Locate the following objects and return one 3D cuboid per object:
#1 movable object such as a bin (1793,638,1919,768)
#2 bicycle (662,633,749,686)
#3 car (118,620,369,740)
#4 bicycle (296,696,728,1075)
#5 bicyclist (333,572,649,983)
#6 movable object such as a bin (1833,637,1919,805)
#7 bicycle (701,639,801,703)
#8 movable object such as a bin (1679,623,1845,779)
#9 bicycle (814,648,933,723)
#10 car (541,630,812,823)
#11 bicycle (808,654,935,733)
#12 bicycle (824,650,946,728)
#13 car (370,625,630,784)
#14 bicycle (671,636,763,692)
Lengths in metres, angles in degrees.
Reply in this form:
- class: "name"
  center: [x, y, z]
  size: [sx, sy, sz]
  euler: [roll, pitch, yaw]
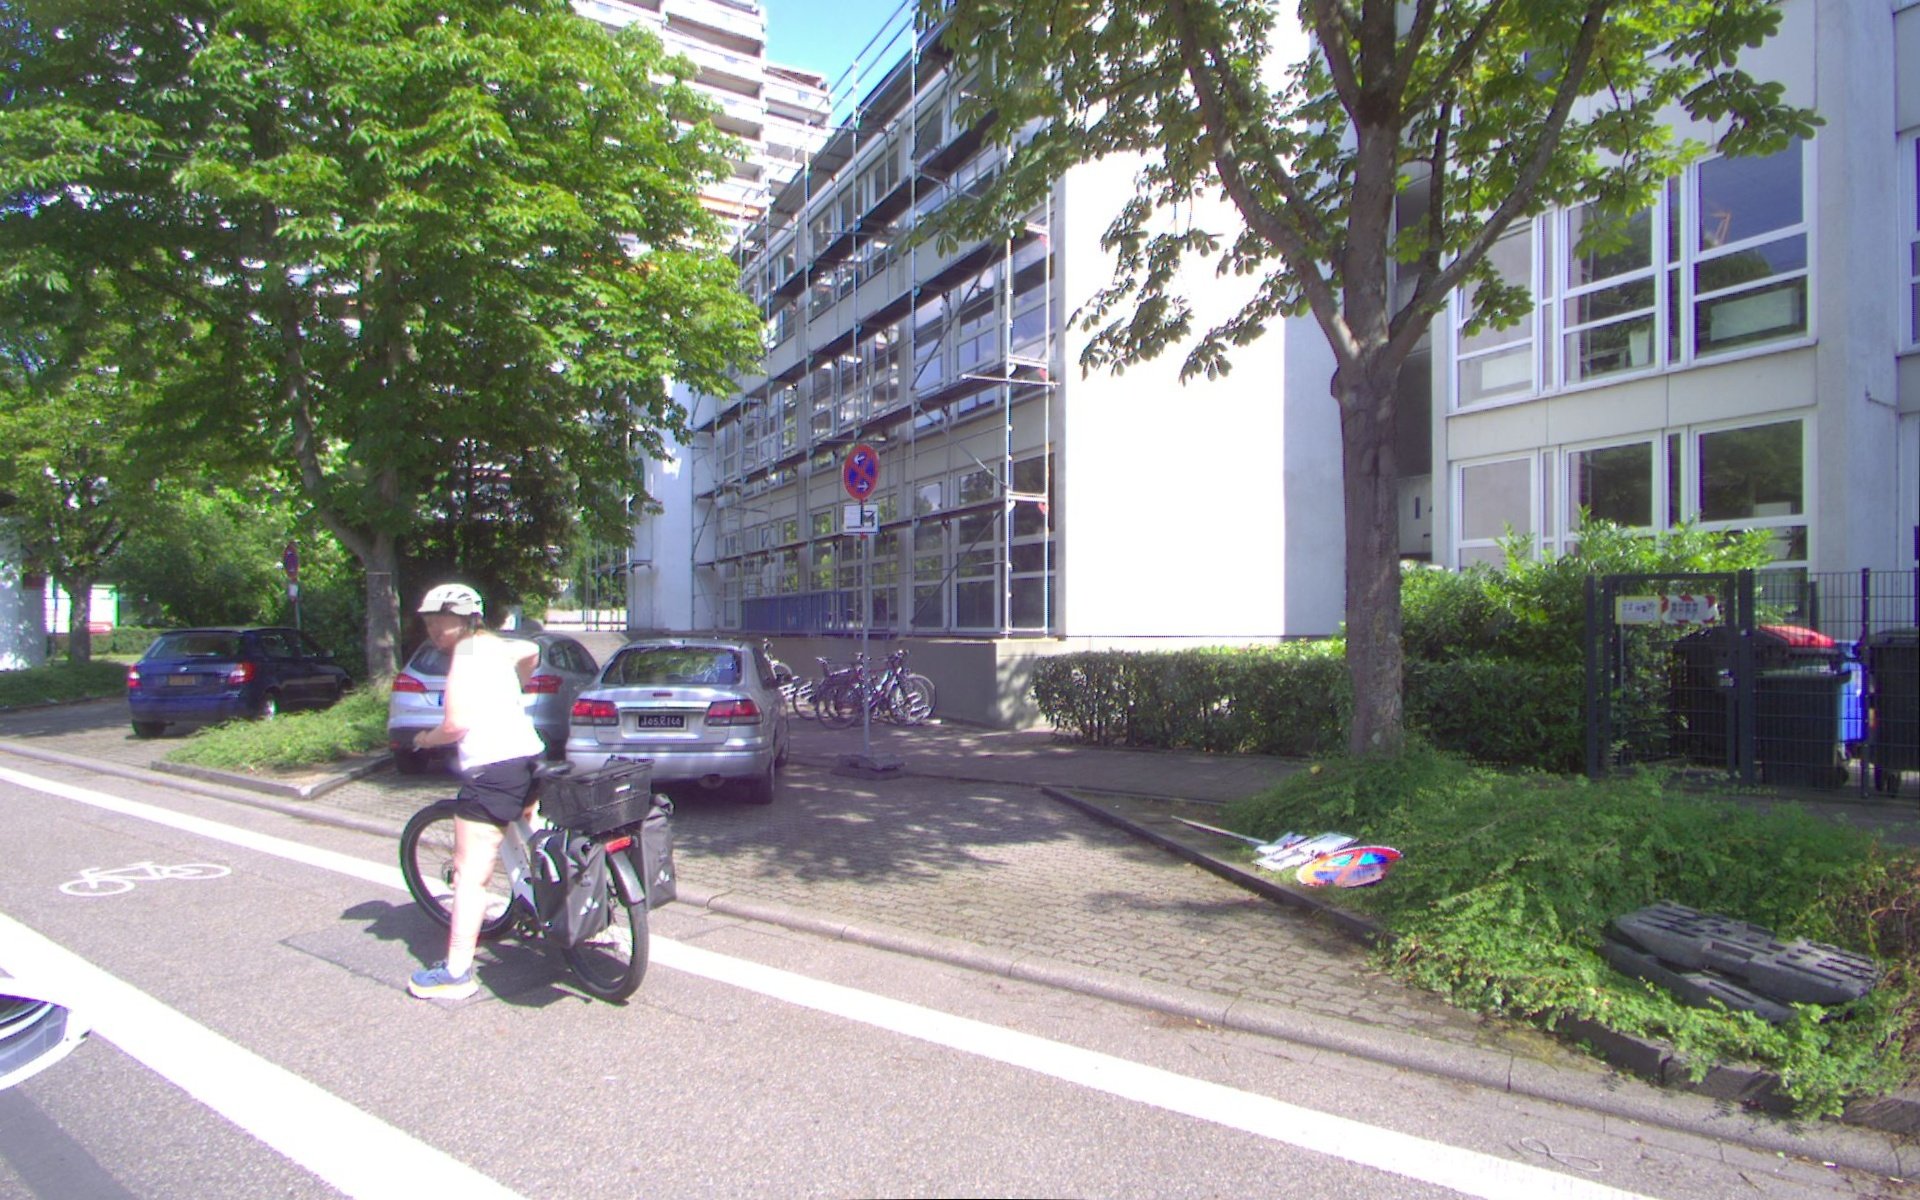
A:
- class: "movable object such as a bin"
  center: [10.610, 1.149, 11.649]
  size: [1.201, 1.356, 1.252]
  euler: [-1, 1, -41]
- class: "bicycle"
  center: [-5.577, 1.296, 21.966]
  size: [1.804, 1.110, 0.449]
  euler: [0, 0, -26]
- class: "car"
  center: [-10.567, 1.083, 15.141]
  size: [1.586, 1.505, 3.996]
  euler: [-1, 0, -12]
- class: "bicycle"
  center: [-2.033, 1.058, 4.390]
  size: [2.110, 1.140, 0.871]
  euler: [-1, -2, 40]
- class: "bicyclist"
  center: [-2.093, 0.701, 4.478]
  size: [1.072, 1.548, 0.886]
  euler: [-1, -3, 40]
- class: "movable object such as a bin"
  center: [8.353, 1.010, 8.486]
  size: [1.219, 1.352, 1.273]
  euler: [-1, -3, 32]
- class: "bicycle"
  center: [-3.926, 1.320, 18.867]
  size: [1.804, 1.111, 0.449]
  euler: [0, 3, -26]
- class: "movable object such as a bin"
  center: [8.308, 1.009, 10.381]
  size: [1.250, 1.499, 0.933]
  euler: [2, -1, -29]
- class: "bicycle"
  center: [-1.373, 1.354, 16.134]
  size: [1.872, 1.110, 0.449]
  euler: [0, 1, -26]
- class: "car"
  center: [-2.481, 1.039, 9.805]
  size: [1.690, 1.438, 4.244]
  euler: [1, -1, -4]
- class: "bicycle"
  center: [-1.316, 1.385, 15.079]
  size: [1.872, 1.067, 0.449]
  euler: [0, 1, -26]
- class: "bicycle"
  center: [-1.163, 1.365, 15.682]
  size: [1.872, 1.110, 0.449]
  euler: [0, 1, -26]
- class: "car"
  center: [-5.030, 1.082, 11.512]
  size: [1.621, 1.493, 3.805]
  euler: [2, -2, -8]
- class: "bicycle"
  center: [-5.063, 1.320, 20.894]
  size: [1.804, 1.110, 0.449]
  euler: [1, 0, -26]
